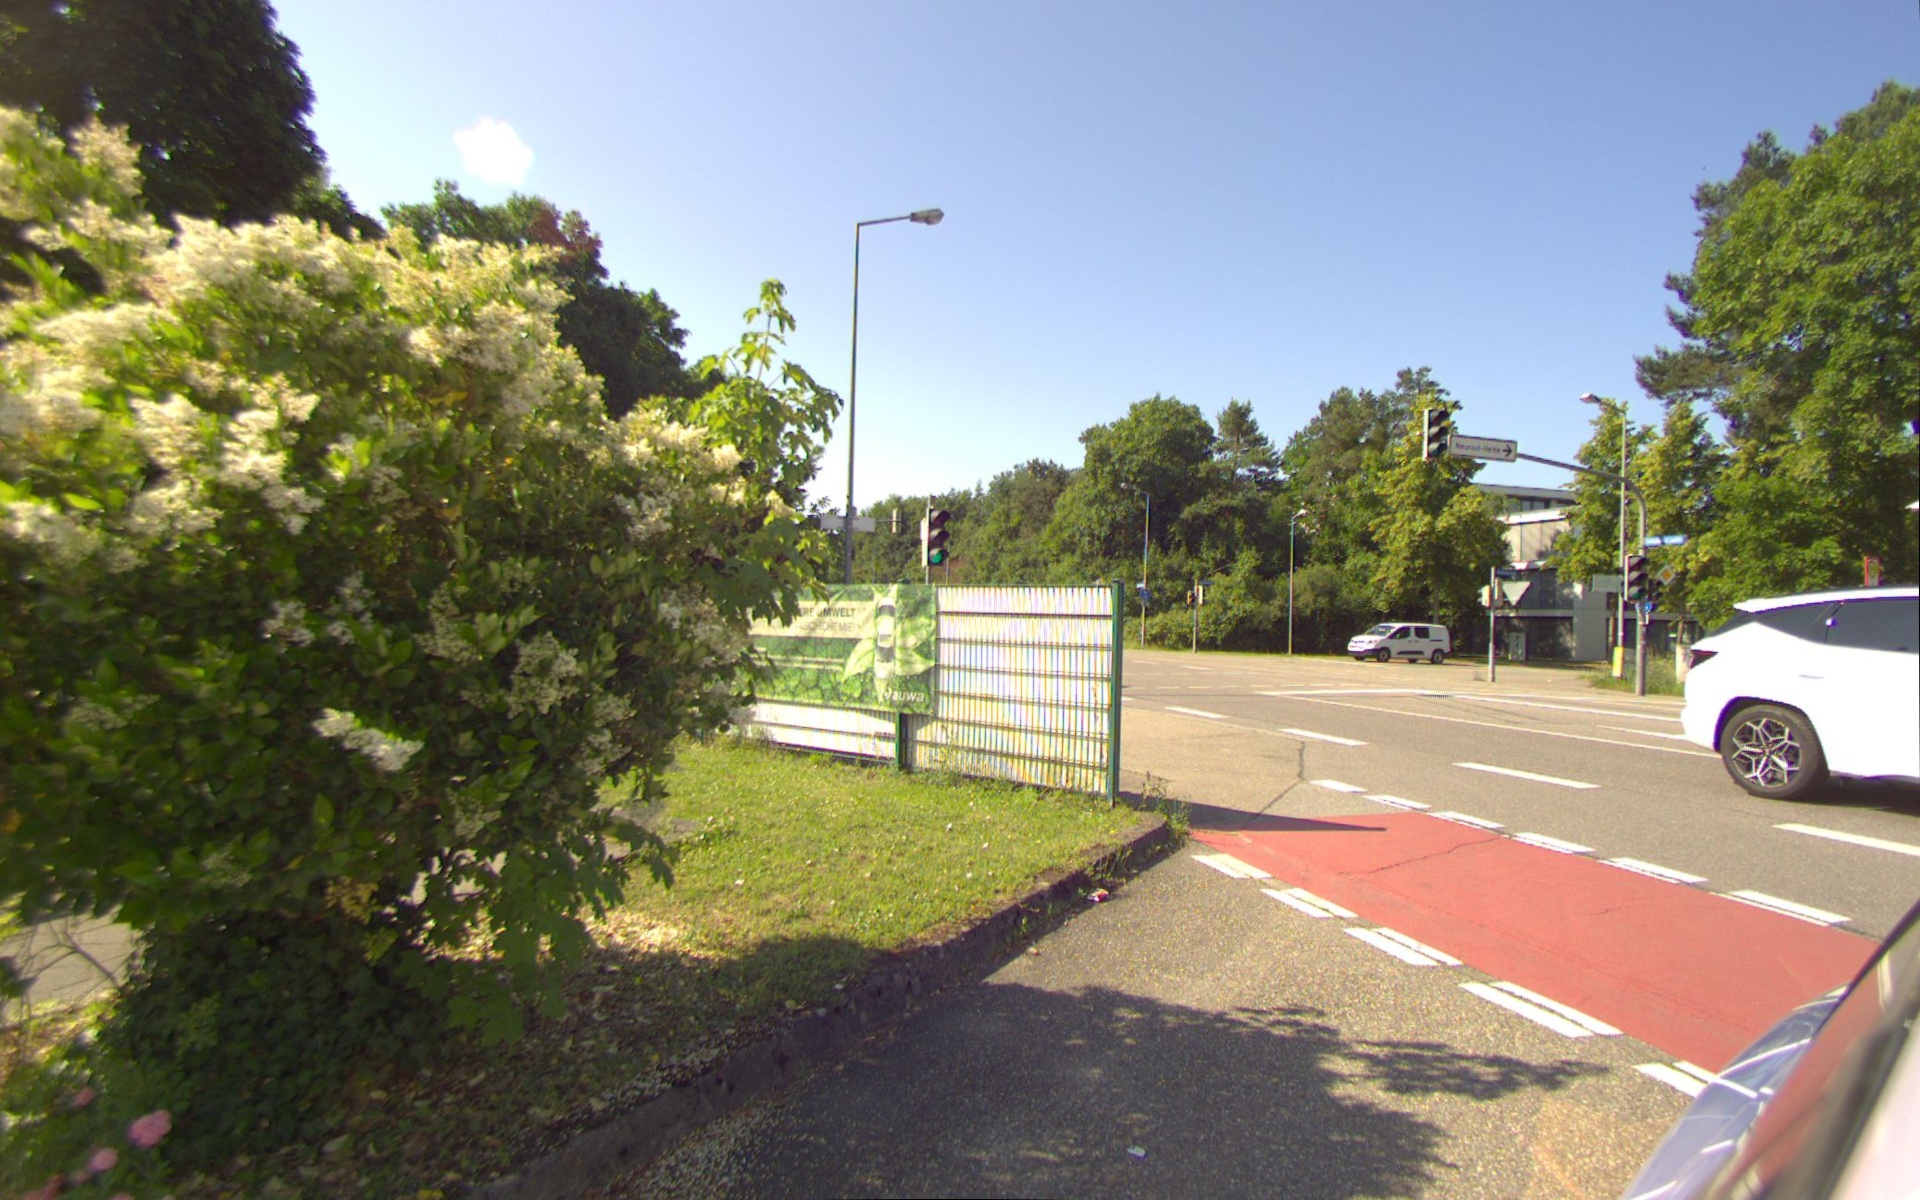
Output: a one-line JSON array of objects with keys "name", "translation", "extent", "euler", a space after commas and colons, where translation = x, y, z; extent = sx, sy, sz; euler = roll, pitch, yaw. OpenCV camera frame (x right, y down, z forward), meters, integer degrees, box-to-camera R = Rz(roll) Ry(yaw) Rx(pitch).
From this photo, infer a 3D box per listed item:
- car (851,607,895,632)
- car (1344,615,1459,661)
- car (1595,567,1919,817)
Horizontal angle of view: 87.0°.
[{"name": "car", "translation": [-5.162, 1.131, 59.287], "extent": [1.752, 1.442, 4.431], "euler": [0, -1, -16]}, {"name": "car", "translation": [19.969, 1.717, 45.854], "extent": [4.563, 1.800, 1.856], "euler": [3, -1, -16]}, {"name": "car", "translation": [7.207, 0.628, 7.302], "extent": [1.776, 1.669, 4.316], "euler": [1, -1, -18]}]
